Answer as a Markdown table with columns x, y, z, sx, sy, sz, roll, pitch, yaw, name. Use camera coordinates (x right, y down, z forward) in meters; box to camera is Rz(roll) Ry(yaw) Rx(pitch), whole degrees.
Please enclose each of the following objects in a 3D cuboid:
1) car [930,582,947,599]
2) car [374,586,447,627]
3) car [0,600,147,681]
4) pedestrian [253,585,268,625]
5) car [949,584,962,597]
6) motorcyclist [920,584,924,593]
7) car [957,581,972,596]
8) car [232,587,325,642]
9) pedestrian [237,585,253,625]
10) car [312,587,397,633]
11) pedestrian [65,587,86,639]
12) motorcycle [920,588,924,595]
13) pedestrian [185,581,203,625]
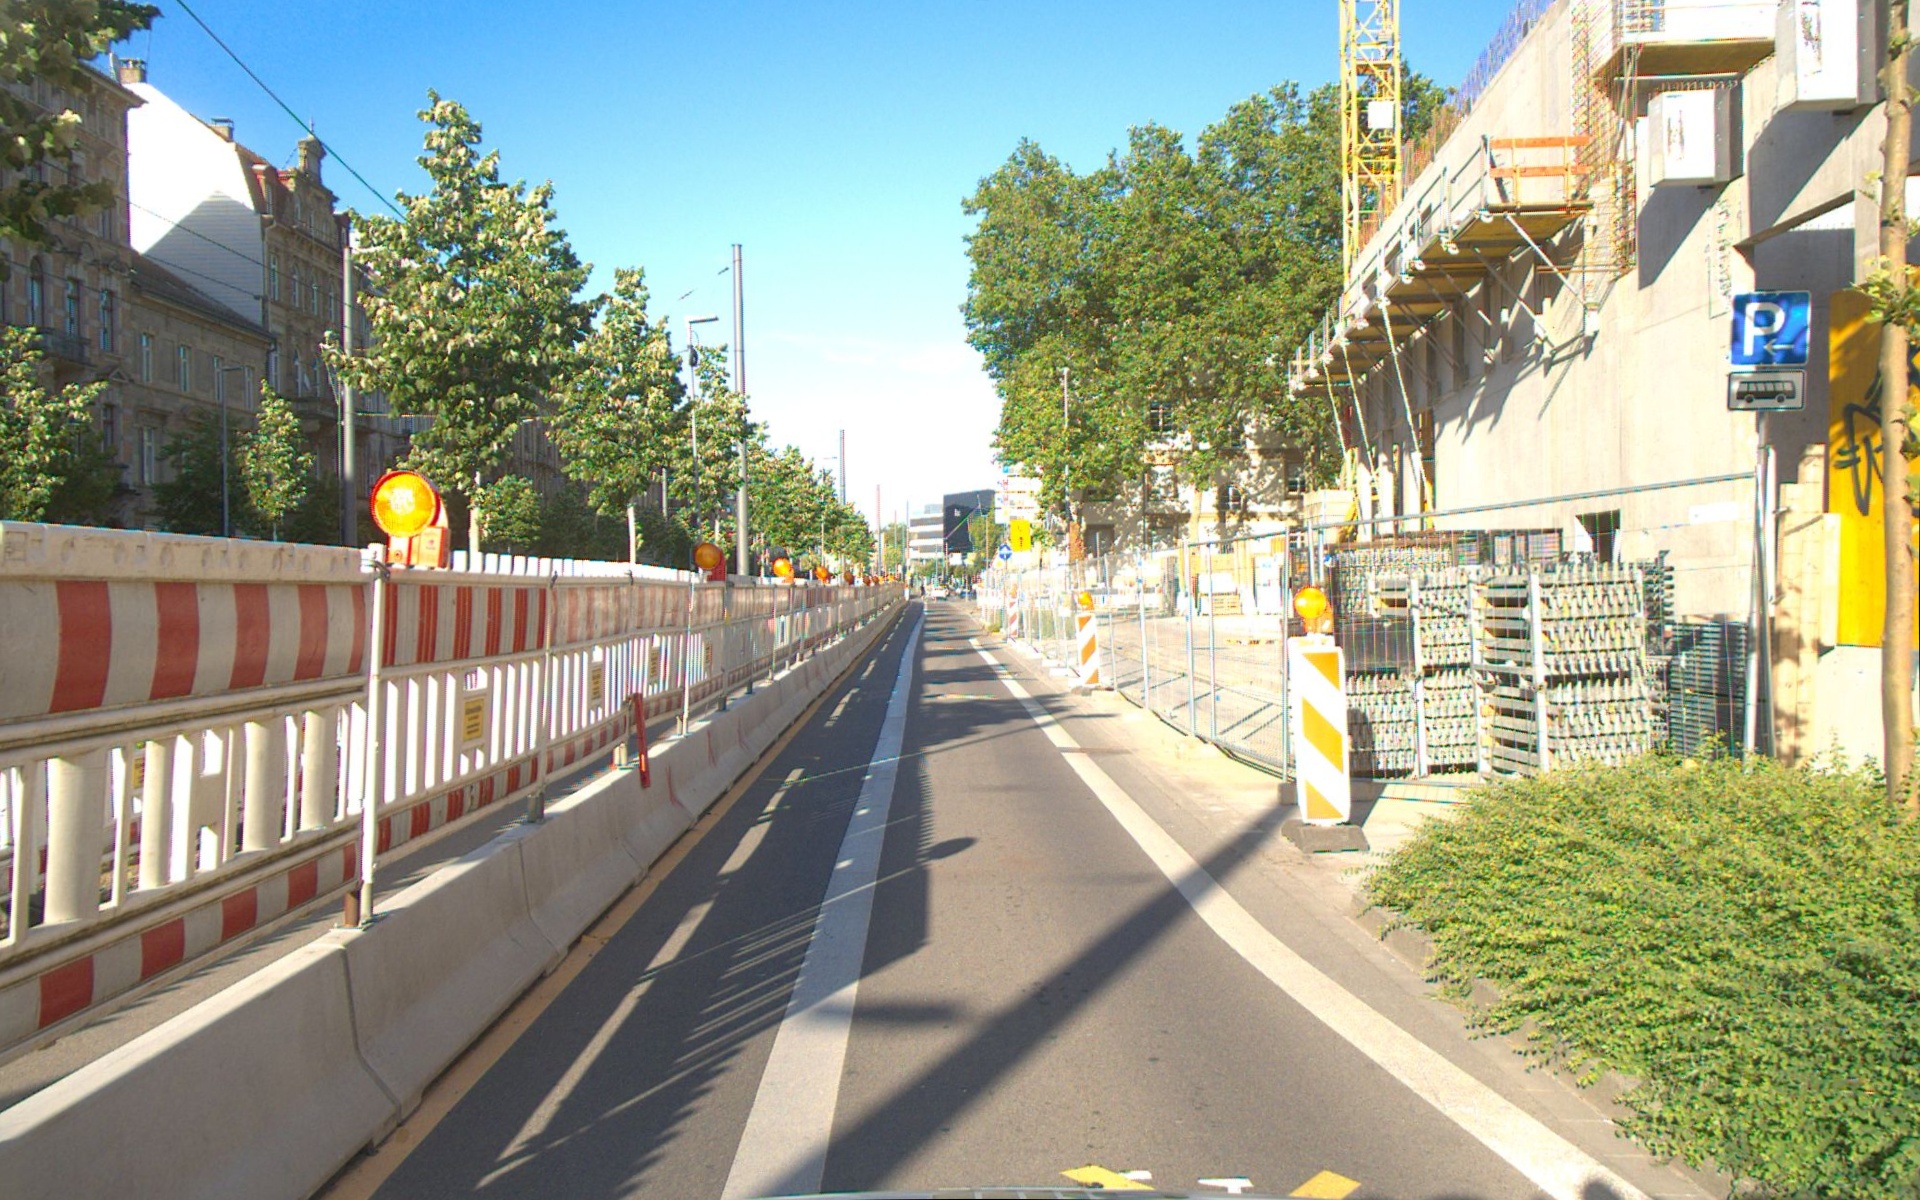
| x | y | z | sx | sy | sz | roll | pitch | yaw | name |
| --- | --- | --- | --- | --- | --- | --- | --- | --- | --- |
| -2.494 | -1.095 | 190.018 | 1.845 | 1.875 | 3.667 | -1 | 1 | -1 | car |
| -22.892 | 0.251 | 69.032 | 1.535 | 1.590 | 4.713 | -1 | 1 | -1 | car |
| -18.231 | 0.783 | 33.642 | 1.562 | 1.509 | 3.624 | -1 | 1 | 1 | car |
| -27.339 | 0.197 | 64.639 | 0.397 | 1.559 | 0.435 | 1 | 0 | -1 | pedestrian |
| -0.737 | -1.410 | 248.041 | 1.845 | 1.875 | 3.667 | -1 | 1 | -1 | car |
| -5.534 | -1.738 | 240.670 | 0.618 | 1.285 | 0.605 | -1 | 1 | -1 | motorcyclist |
| 0.583 | -1.479 | 211.491 | 1.845 | 1.875 | 3.667 | -1 | 1 | -1 | car |
| -22.738 | 0.454 | 55.300 | 1.534 | 1.704 | 3.808 | -1 | 1 | -1 | car |
| -28.086 | 0.182 | 64.998 | 0.397 | 1.561 | 0.435 | 1 | 0 | -1 | pedestrian |
| -22.862 | 0.343 | 62.617 | 1.534 | 1.590 | 4.714 | -1 | 1 | -1 | car |
| -27.569 | 0.410 | 51.551 | 0.420 | 1.612 | 0.339 | 1 | 0 | 0 | pedestrian |
| -5.521 | -1.222 | 240.725 | 0.618 | 0.912 | 1.620 | -1 | 1 | -1 | motorcycle |
| -28.069 | 0.100 | 60.628 | 0.452 | 1.612 | 0.434 | 1 | 0 | -8 | pedestrian |
